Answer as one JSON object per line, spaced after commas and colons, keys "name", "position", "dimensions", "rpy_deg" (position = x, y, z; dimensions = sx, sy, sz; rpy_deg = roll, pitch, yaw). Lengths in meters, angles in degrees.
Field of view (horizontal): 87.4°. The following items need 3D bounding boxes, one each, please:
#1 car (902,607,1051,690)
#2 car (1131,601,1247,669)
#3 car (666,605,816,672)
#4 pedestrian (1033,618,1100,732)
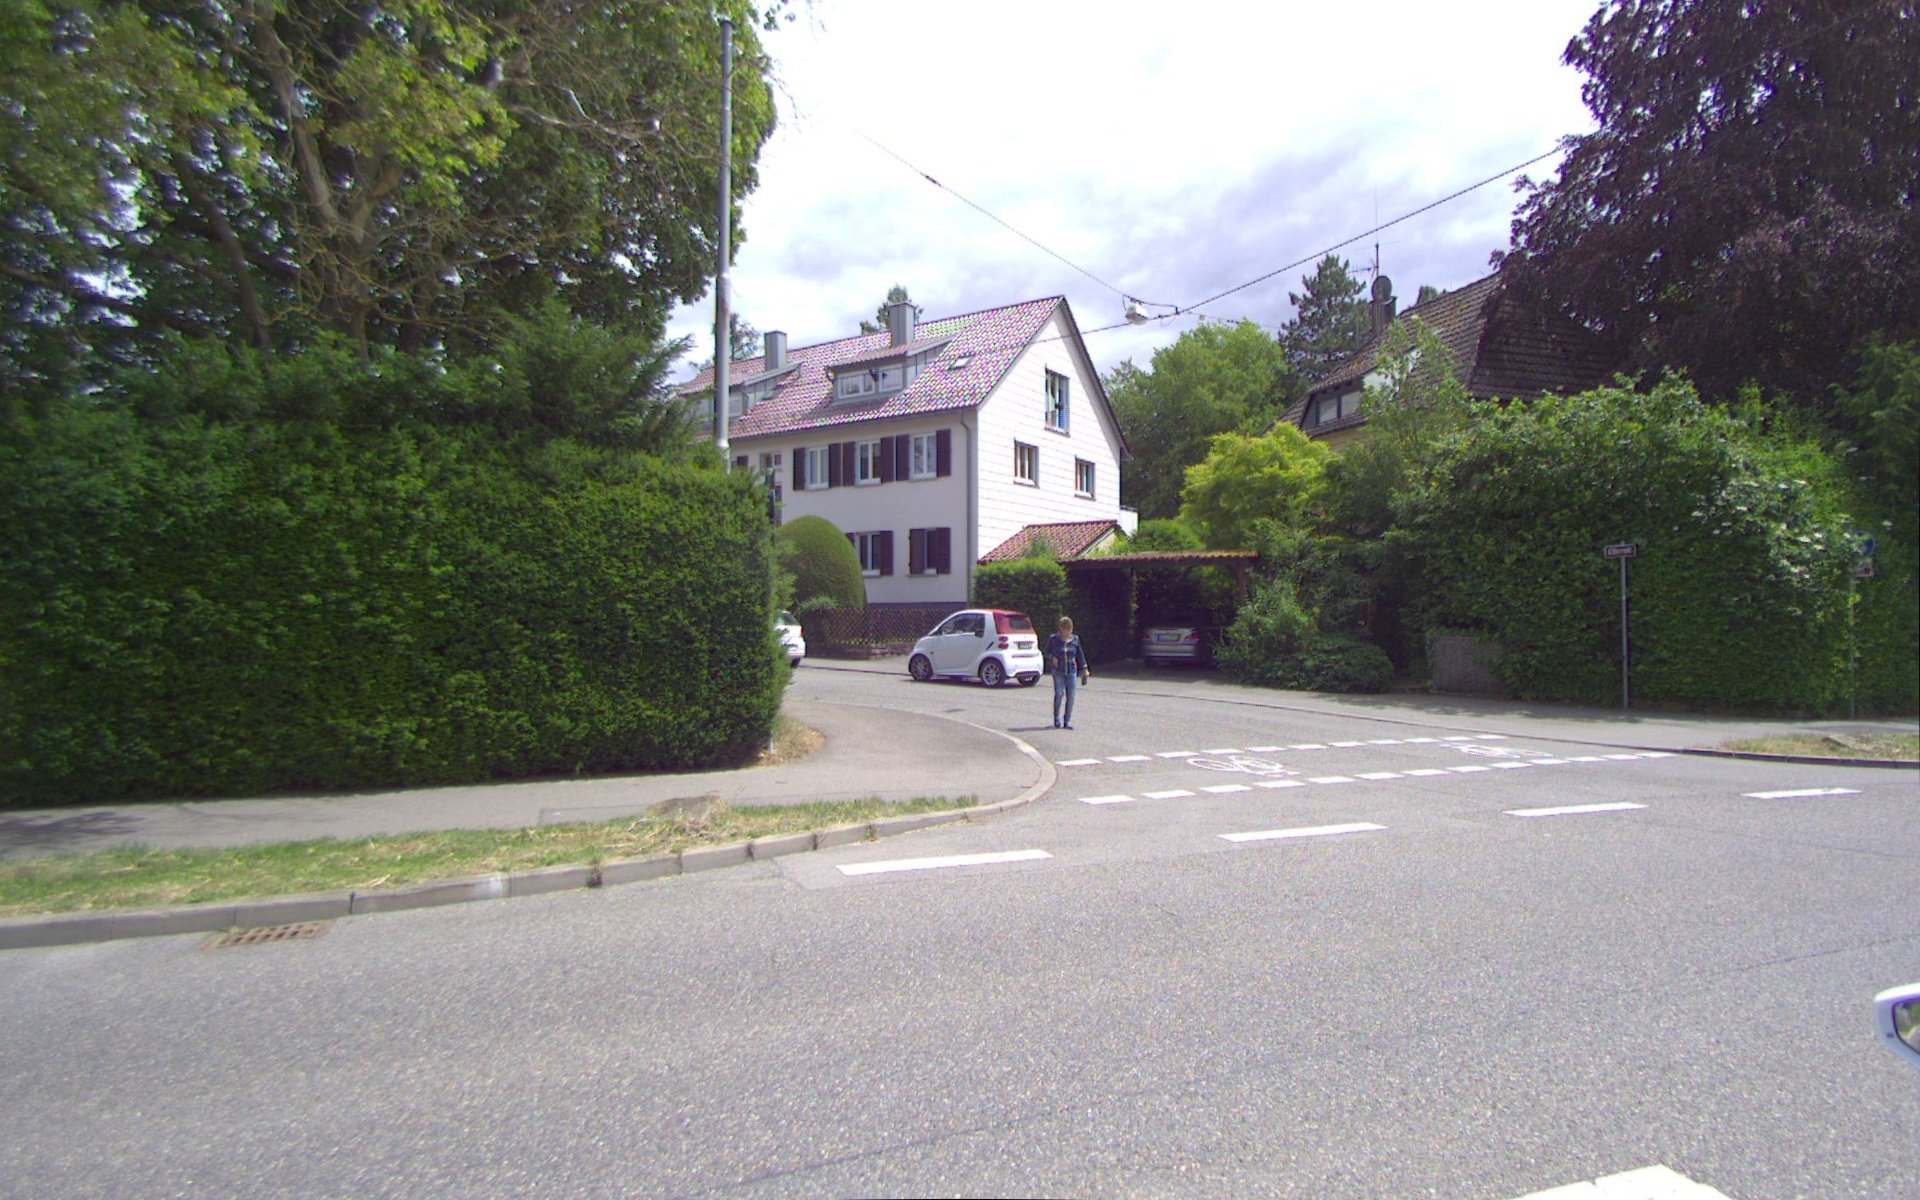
{"name": "car", "position": [0.335, 0.983, 21.196], "dimensions": [2.732, 1.576, 1.584], "rpy_deg": [1, 0, 36]}
{"name": "car", "position": [5.730, 0.812, 24.809], "dimensions": [1.697, 1.530, 3.992], "rpy_deg": [0, 0, 30]}
{"name": "car", "position": [-5.457, 0.918, 24.974], "dimensions": [3.475, 1.474, 1.710], "rpy_deg": [1, 0, 34]}
{"name": "pedestrian", "position": [1.500, 1.030, 14.125], "dimensions": [0.719, 1.528, 0.625], "rpy_deg": [0, -1, 36]}
